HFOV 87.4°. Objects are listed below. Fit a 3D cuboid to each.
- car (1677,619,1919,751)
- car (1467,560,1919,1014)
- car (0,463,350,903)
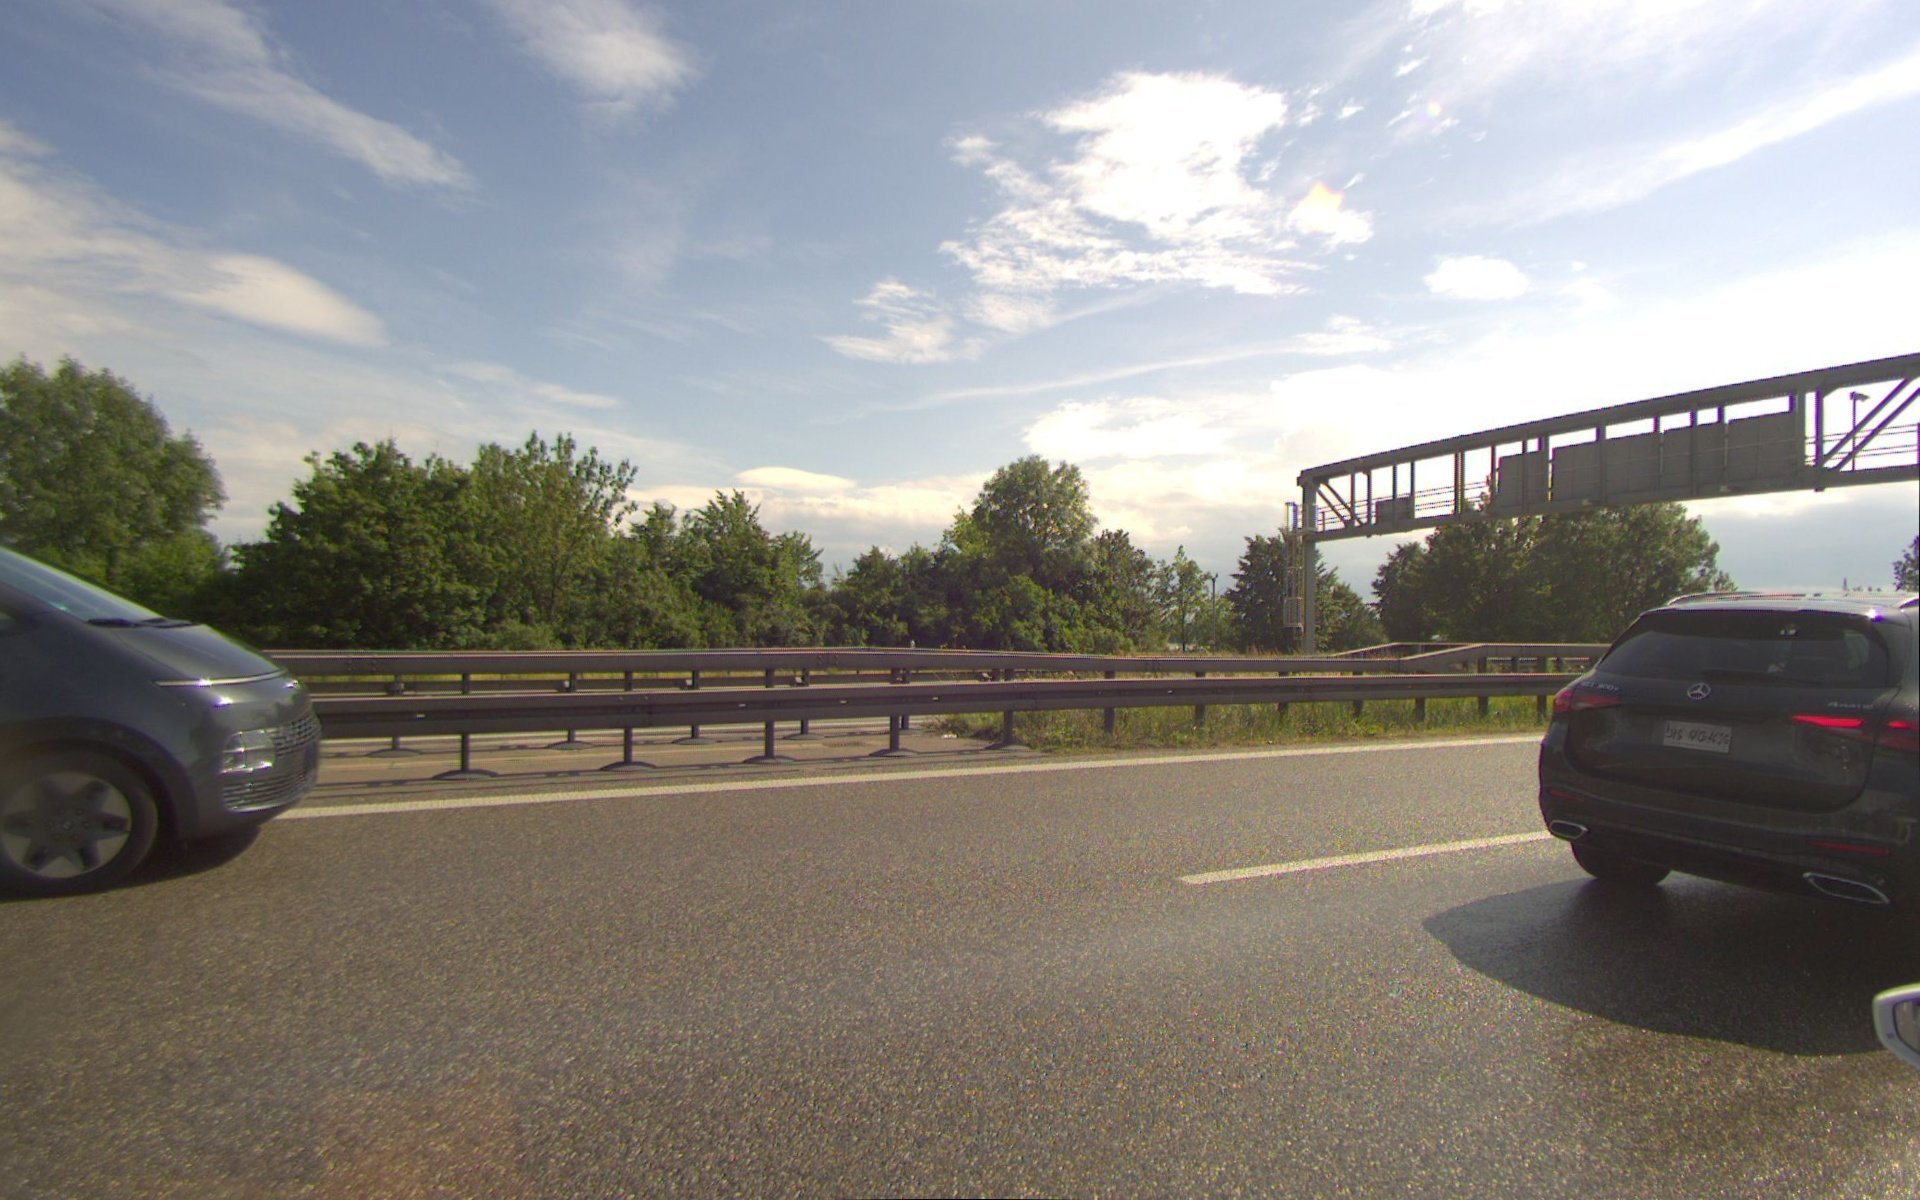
[{"bbox_3d":[11.875,1.073,13.620,4.153,1.537,1.751,2,-1,-26],"label":"car"},{"bbox_3d":[5.134,0.756,5.507,4.348,1.683,1.987,2,-1,-26],"label":"car"},{"bbox_3d":[-6.133,0.354,4.894,5.202,2.040,1.986,2,-1,-27],"label":"car"}]
